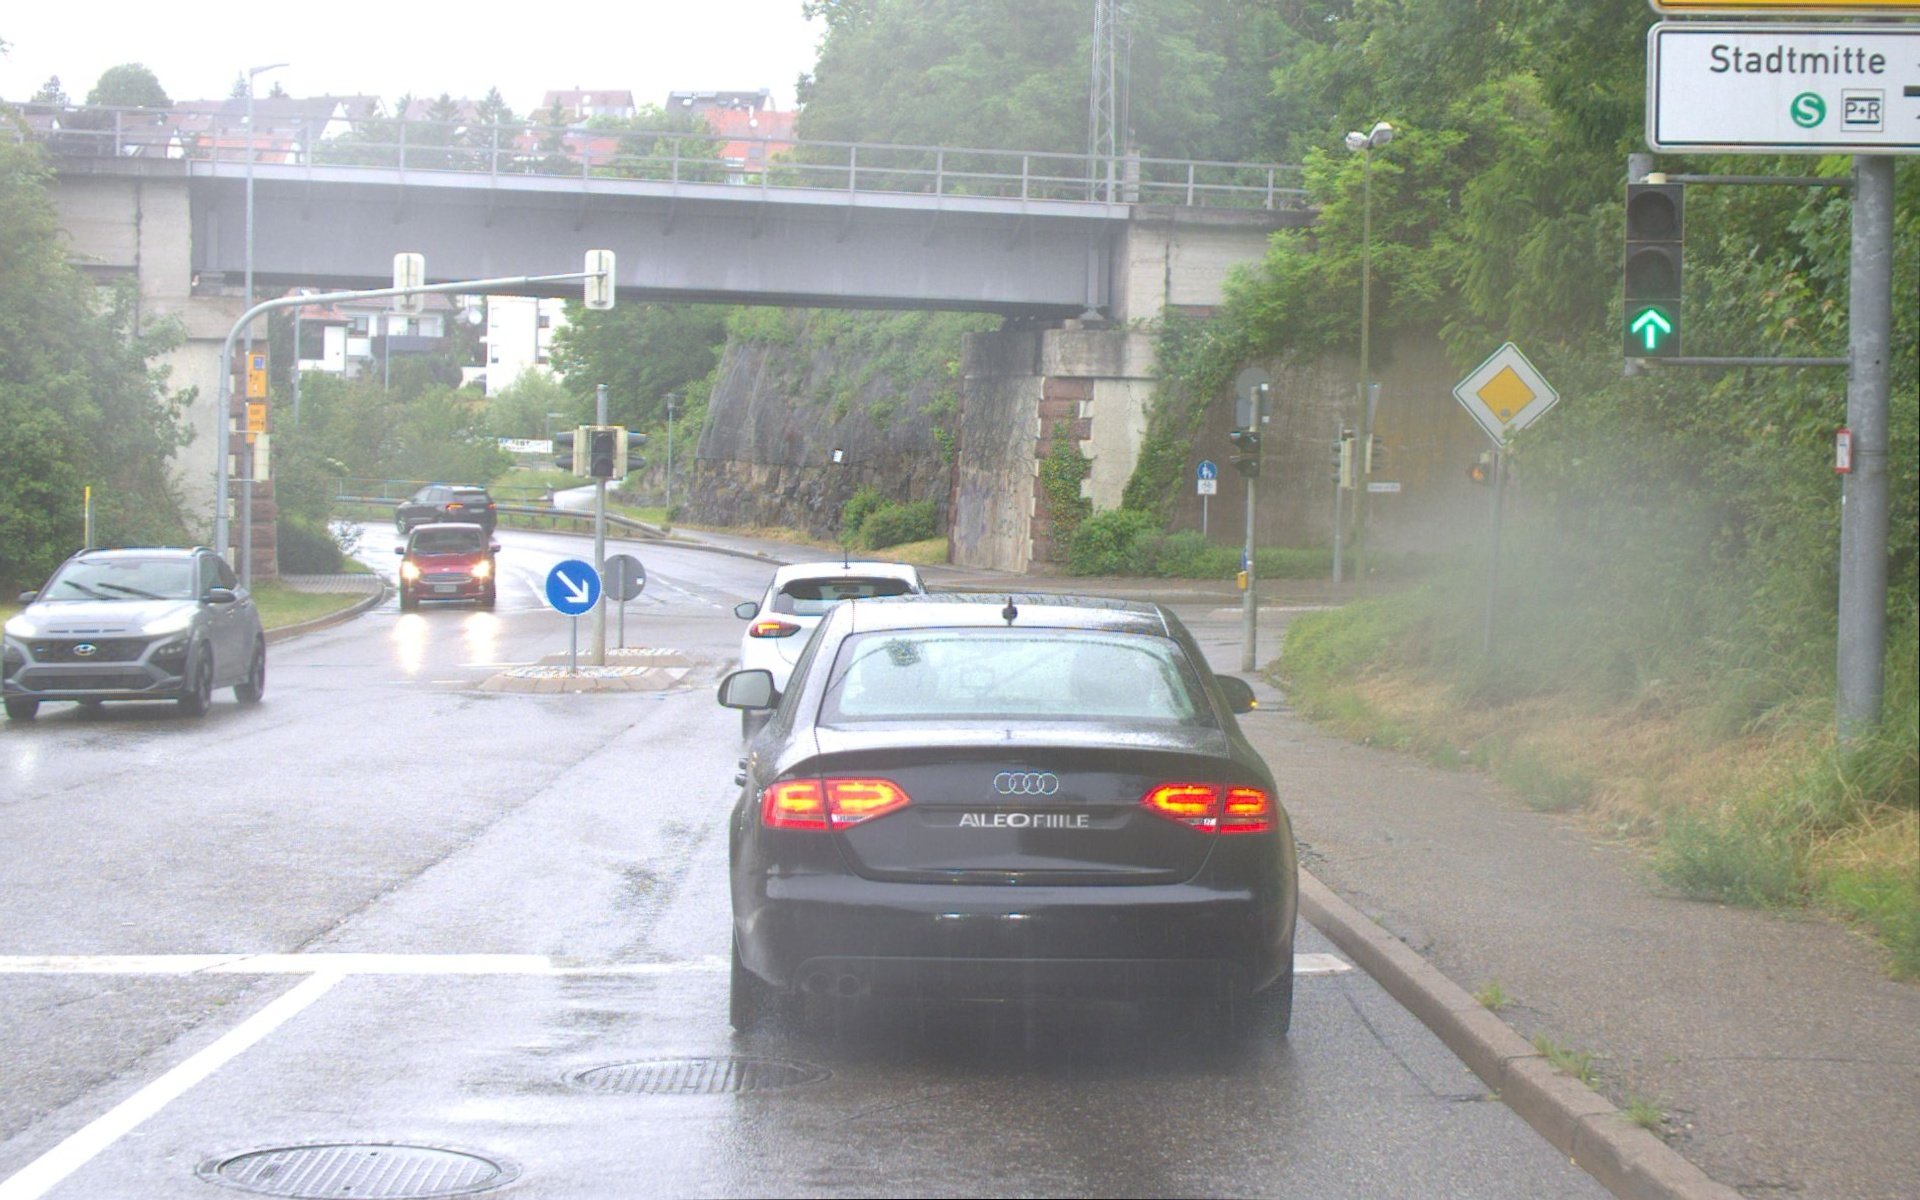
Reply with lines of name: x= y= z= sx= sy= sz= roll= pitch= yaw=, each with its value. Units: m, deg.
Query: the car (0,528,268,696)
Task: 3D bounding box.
car: x=-7.696 y=0.078 z=32.288 sx=1.639 sy=1.465 sz=4.000 roll=1 pitch=1 yaw=-1

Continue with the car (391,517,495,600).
car: x=-10.440 y=-0.853 z=69.643 sx=1.993 sy=1.623 sz=4.001 roll=-1 pitch=1 yaw=-7

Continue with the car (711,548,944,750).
car: x=-1.072 y=0.395 z=29.073 sx=1.823 sy=1.579 sz=4.000 roll=0 pitch=0 yaw=-1

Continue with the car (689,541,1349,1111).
car: x=0.142 y=0.653 z=11.777 sx=1.870 sy=1.611 sz=4.000 roll=0 pitch=0 yaw=-1

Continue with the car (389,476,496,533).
car: x=-16.229 y=-3.008 z=107.652 sx=1.993 sy=1.590 sz=4.001 roll=-1 pitch=4 yaw=-30
